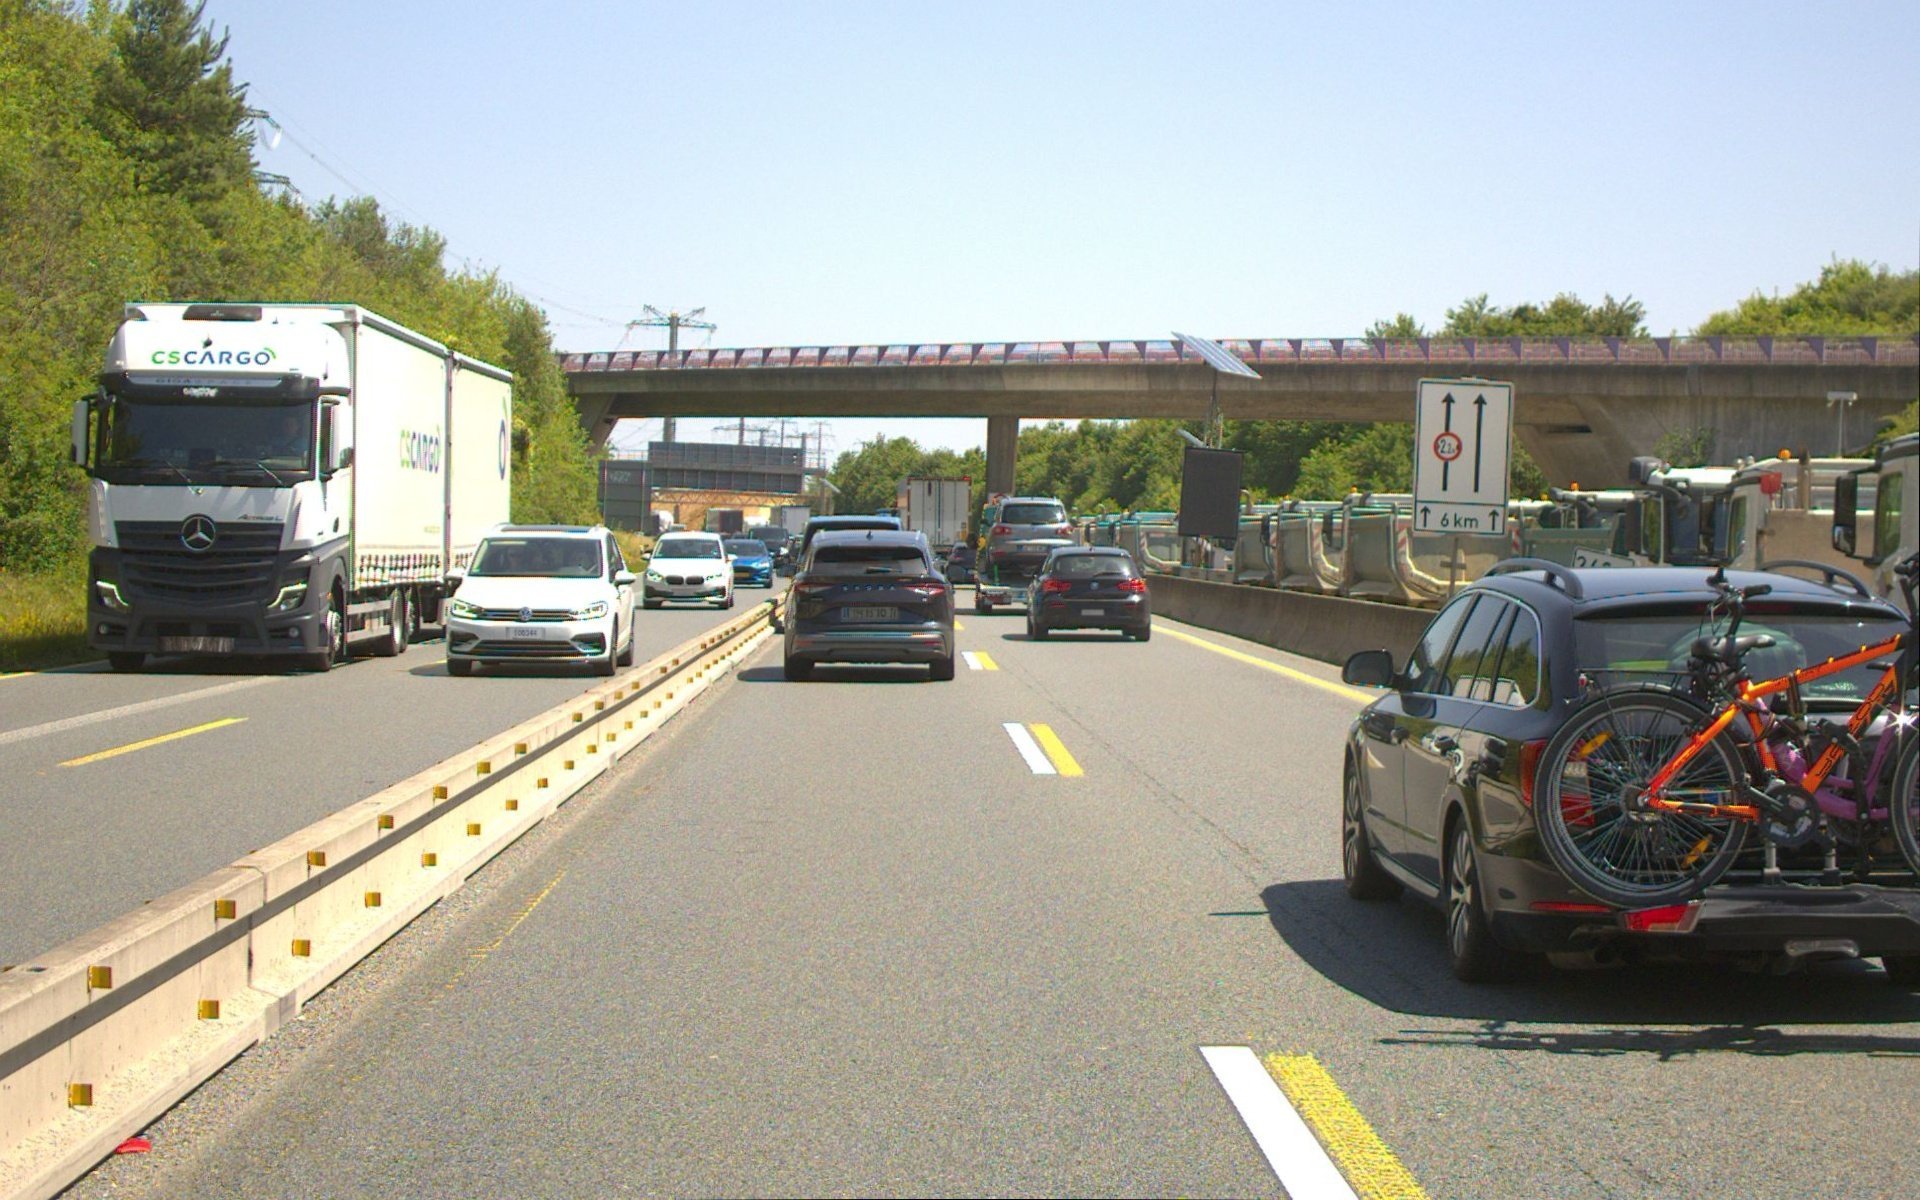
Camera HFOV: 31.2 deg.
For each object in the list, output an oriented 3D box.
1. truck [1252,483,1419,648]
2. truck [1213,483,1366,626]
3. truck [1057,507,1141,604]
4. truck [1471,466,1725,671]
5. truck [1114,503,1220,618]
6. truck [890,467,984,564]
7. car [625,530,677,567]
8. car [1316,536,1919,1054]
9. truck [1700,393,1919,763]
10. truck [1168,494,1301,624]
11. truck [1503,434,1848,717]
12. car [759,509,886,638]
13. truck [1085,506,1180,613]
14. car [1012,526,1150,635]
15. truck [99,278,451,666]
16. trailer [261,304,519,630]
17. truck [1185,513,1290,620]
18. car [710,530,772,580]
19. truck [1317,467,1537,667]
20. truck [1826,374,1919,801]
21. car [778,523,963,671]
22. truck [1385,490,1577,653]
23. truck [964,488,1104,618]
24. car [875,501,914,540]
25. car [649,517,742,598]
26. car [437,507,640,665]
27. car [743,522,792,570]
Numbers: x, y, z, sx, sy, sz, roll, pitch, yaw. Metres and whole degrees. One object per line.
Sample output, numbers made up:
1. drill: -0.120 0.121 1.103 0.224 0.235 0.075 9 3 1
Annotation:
1. truck: 8.541 -0.840 79.237 2.687 3.545 9.407 1 1 0
2. truck: 8.576 -1.229 90.532 2.687 3.545 9.326 1 1 -2
3. truck: 5.707 -1.862 142.252 2.687 3.830 9.326 1 1 -2
4. truck: 11.873 -0.644 64.900 2.687 3.545 9.604 1 1 -2
5. truck: 7.064 -1.397 118.249 2.687 3.748 9.326 1 1 -2
6. truck: -1.012 -3.485 142.484 3.292 3.832 10.111 1 1 -3
7. car: -13.044 -2.182 145.349 1.793 1.520 4.531 1 1 -1
8. car: 2.543 0.544 12.479 1.899 1.485 4.948 1 1 -1
9. truck: 10.265 -0.276 36.960 2.533 3.499 8.945 1 1 -1
10. truck: 7.857 -1.235 99.572 2.687 3.545 9.326 1 1 -2
11. truck: 9.840 -0.401 48.443 2.538 3.545 9.604 1 1 -2
12. car: -2.199 -0.448 55.831 1.899 1.962 4.276 1 1 -1
13. truck: 6.440 -1.573 129.590 2.687 3.842 9.326 1 1 -2
14. car: 1.827 -0.323 53.213 1.899 1.580 4.276 1 1 -1
15. truck: -7.919 -1.441 41.075 2.409 3.978 10.353 2 1 -2
16. trailer: -8.211 -1.877 50.481 2.637 4.298 8.449 2 1 -3
17. truck: 10.108 -1.281 126.142 2.687 3.714 9.326 1 1 -2
18. car: -6.506 -1.349 102.405 1.712 1.420 4.171 1 1 -2
19. truck: 8.915 -0.693 66.790 2.687 3.545 9.604 1 1 -1
20. truck: 9.192 -0.045 26.315 2.533 3.499 9.098 1 1 -2
21. car: -0.957 -0.067 37.898 1.899 1.500 4.276 1 1 -1
22. truck: 11.552 -0.697 77.127 2.687 3.366 9.603 1 1 -1
23. truck: 1.473 -1.034 72.181 2.405 2.549 7.501 1 1 -2
24. car: -3.365 -4.074 177.250 1.899 1.962 4.276 1 1 -1
25. car: -5.580 -0.901 72.905 1.762 1.626 4.297 1 1 -2
26. car: -4.613 -0.169 38.122 1.824 1.625 4.151 1 1 -2
27. car: -8.352 -2.374 149.206 1.890 2.007 4.818 1 1 -1
